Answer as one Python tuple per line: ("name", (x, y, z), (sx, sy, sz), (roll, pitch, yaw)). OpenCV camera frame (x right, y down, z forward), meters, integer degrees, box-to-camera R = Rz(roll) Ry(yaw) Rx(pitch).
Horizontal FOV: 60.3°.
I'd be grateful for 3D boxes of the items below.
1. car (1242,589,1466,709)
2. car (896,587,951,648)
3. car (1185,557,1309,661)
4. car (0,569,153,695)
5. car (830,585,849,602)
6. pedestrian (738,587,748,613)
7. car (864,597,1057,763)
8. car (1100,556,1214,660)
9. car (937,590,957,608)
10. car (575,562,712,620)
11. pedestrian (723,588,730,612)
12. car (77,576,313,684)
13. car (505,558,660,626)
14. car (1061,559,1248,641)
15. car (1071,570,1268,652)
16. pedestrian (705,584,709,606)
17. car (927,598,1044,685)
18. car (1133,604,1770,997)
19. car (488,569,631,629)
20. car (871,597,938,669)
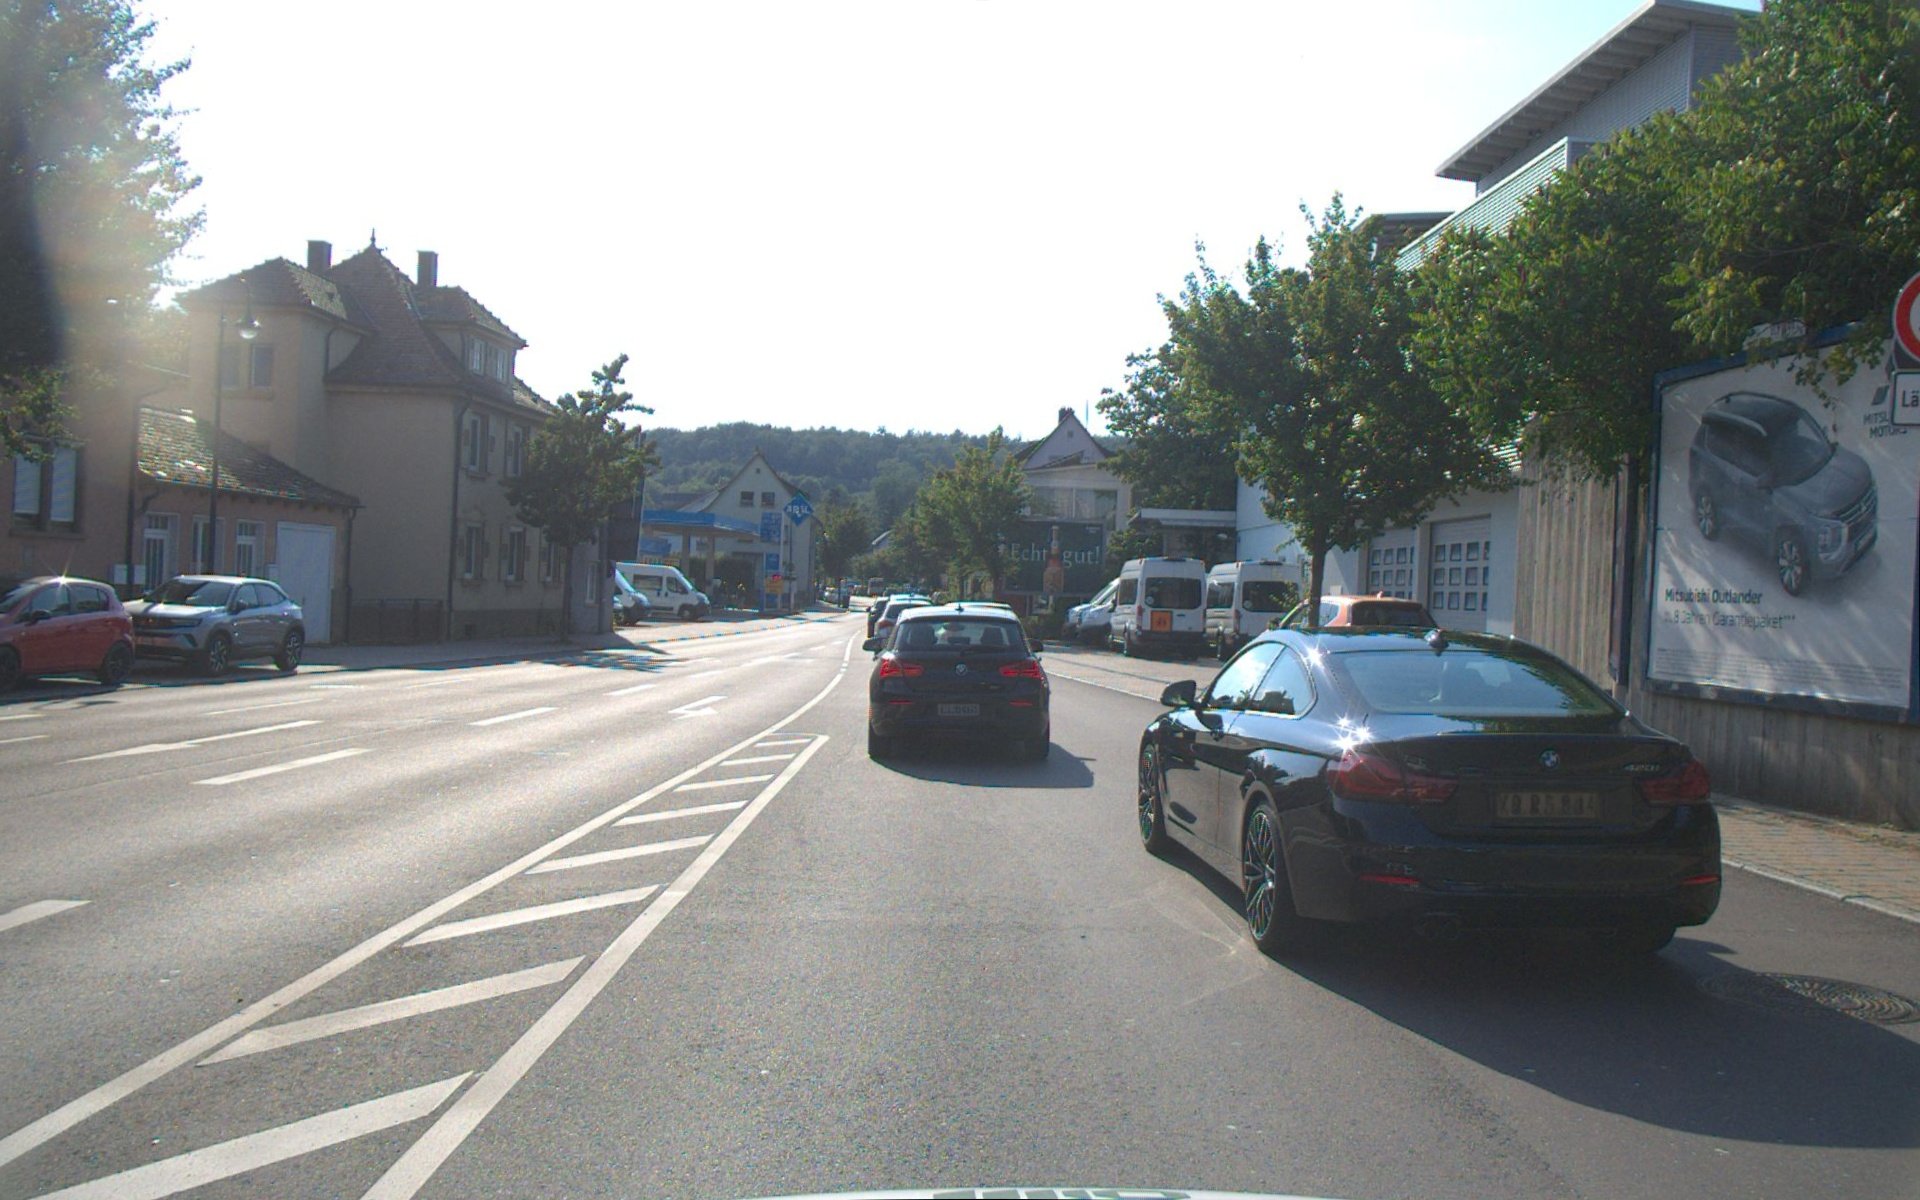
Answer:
("car", (6.024, 0.698, 25.881), (1.800, 1.678, 4.529), (2, 0, -9))
("car", (-1.101, 0.503, 51.558), (1.570, 1.798, 3.411), (1, 0, 0))
("car", (8.230, 0.220, 48.081), (2.069, 2.769, 6.439), (1, 1, -3))
("car", (-12.787, 0.386, 22.154), (1.631, 1.513, 4.002), (4, 0, 5))
("car", (-11.414, -0.621, 156.771), (1.565, 1.511, 3.473), (2, 0, -3))
("pedestrian", (-14.368, 0.000, 109.335), (0.598, 1.699, 0.442), (1, 0, -5))
("car", (-0.013, 0.727, 16.764), (1.735, 1.482, 3.515), (1, 0, -1))
("car", (5.567, 0.183, 47.761), (2.107, 2.727, 6.599), (1, 1, -3))
("car", (-1.158, -0.101, 144.050), (1.565, 1.511, 3.473), (2, 0, -3))
("car", (-14.966, -0.436, 78.459), (6.034, 2.487, 2.249), (2, 0, -2))
("pedestrian", (-15.437, 0.009, 109.399), (0.399, 1.574, 0.432), (1, 0, -5))
("car", (-12.421, 0.434, 27.150), (1.719, 1.504, 4.002), (4, 1, 4))
("car", (-15.621, -0.347, 68.647), (5.797, 2.523, 2.194), (2, 1, 2))
("car", (6.491, 0.000, 55.655), (5.924, 2.560, 2.042), (1, 0, -4))
("car", (6.637, 0.344, 52.710), (5.924, 2.404, 2.042), (1, 0, -4))
("pedestrian", (-16.529, -0.325, 108.084), (0.257, 1.407, 0.287), (1, 0, -14))
("car", (0.415, 0.730, 30.703), (1.720, 1.438, 3.417), (1, 1, -7))
("car", (2.078, 0.760, 8.325), (1.666, 1.393, 4.259), (1, 1, -4))
("car", (-15.207, -0.034, 62.990), (4.874, 2.034, 1.935), (2, 0, 1))
("car", (-1.446, 0.791, 42.052), (1.560, 1.628, 3.891), (1, 1, -3))
